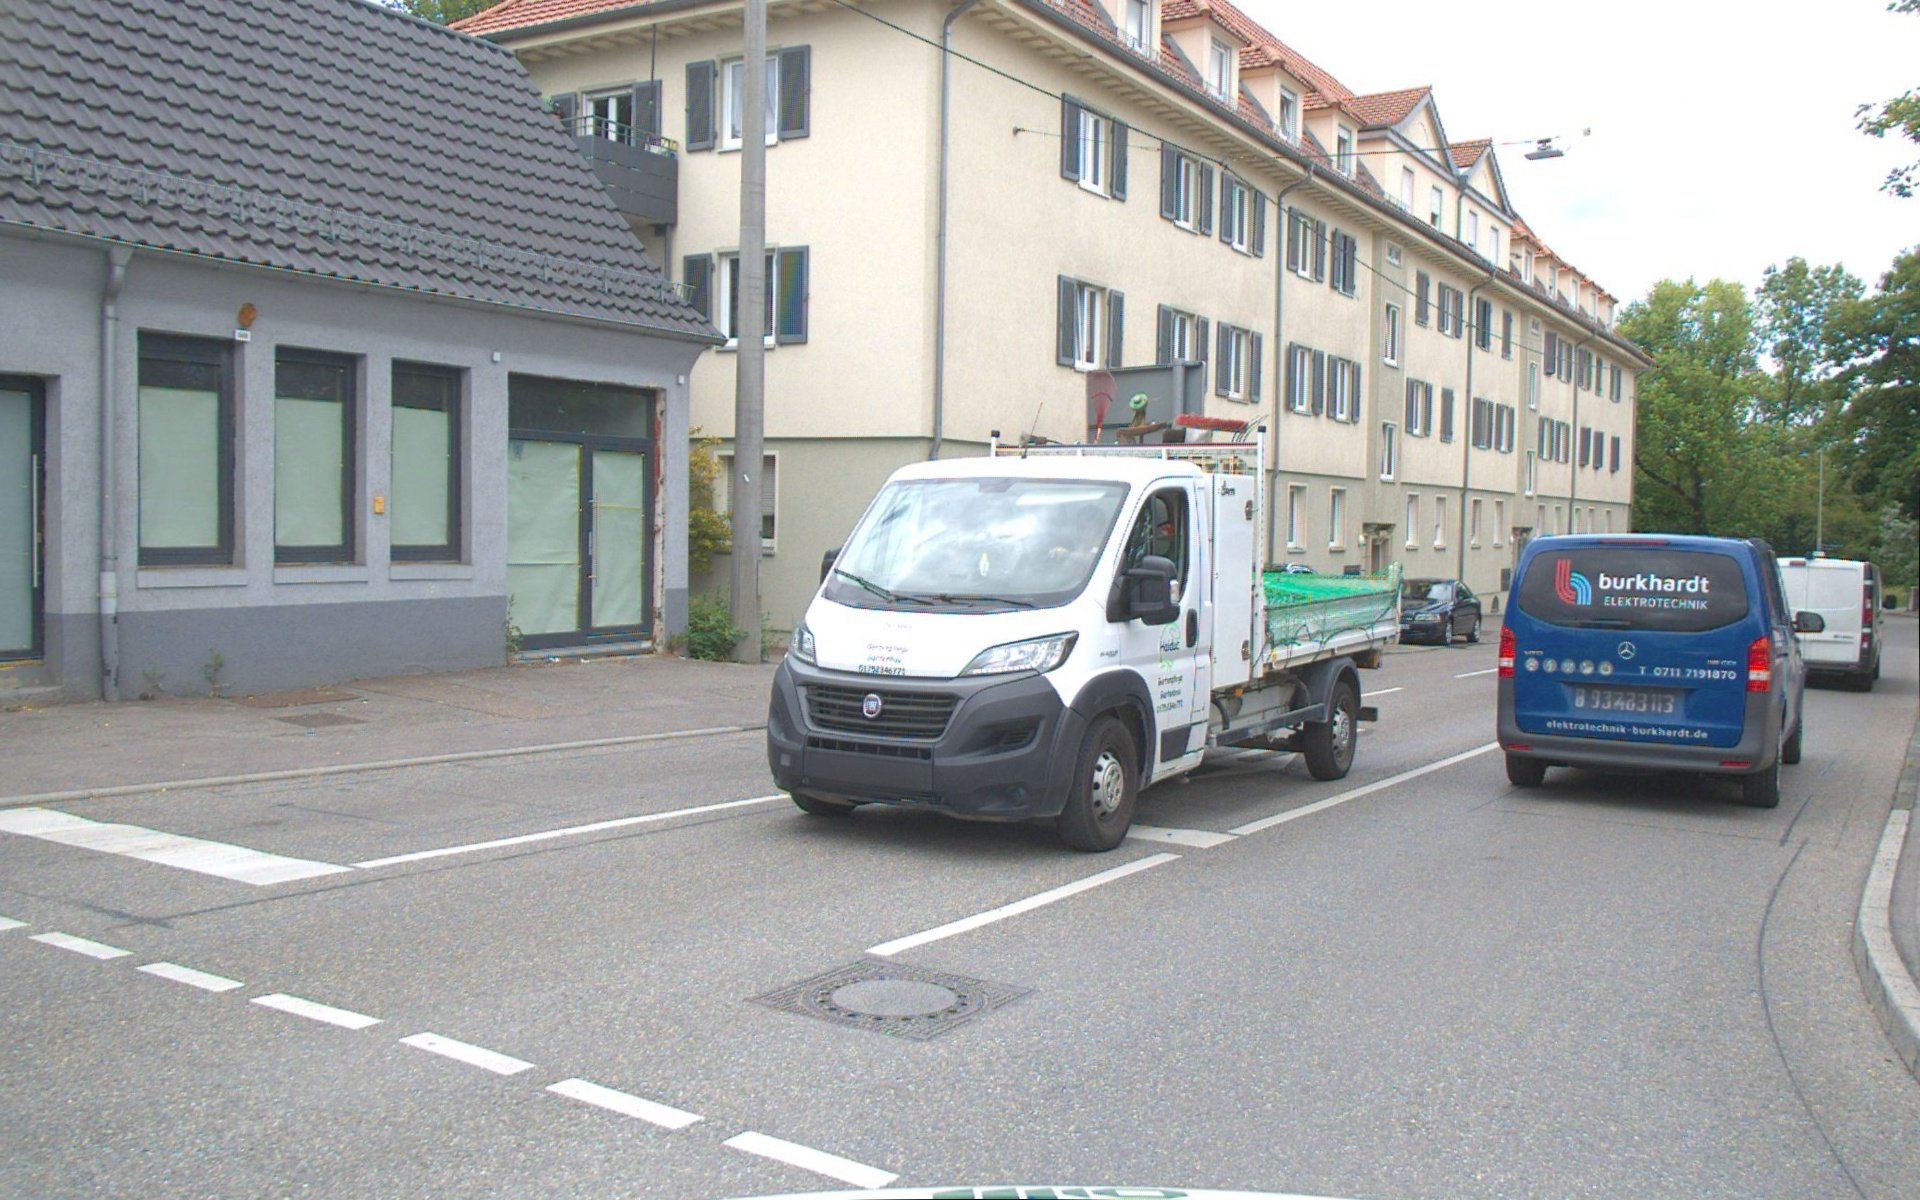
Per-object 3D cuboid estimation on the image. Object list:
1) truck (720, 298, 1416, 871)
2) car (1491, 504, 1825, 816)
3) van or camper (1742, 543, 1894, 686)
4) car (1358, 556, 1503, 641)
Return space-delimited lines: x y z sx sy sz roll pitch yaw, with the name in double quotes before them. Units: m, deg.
"truck" 1.192 -0.113 11.183 1.957 2.748 6.392 0 1 32
"car" 5.659 0.325 13.056 1.911 1.999 4.533 1 2 30
"van or camper" 14.093 0.185 27.020 1.956 2.048 5.087 3 2 29
"car" 10.523 -0.077 36.820 1.959 1.780 3.988 0 1 34
